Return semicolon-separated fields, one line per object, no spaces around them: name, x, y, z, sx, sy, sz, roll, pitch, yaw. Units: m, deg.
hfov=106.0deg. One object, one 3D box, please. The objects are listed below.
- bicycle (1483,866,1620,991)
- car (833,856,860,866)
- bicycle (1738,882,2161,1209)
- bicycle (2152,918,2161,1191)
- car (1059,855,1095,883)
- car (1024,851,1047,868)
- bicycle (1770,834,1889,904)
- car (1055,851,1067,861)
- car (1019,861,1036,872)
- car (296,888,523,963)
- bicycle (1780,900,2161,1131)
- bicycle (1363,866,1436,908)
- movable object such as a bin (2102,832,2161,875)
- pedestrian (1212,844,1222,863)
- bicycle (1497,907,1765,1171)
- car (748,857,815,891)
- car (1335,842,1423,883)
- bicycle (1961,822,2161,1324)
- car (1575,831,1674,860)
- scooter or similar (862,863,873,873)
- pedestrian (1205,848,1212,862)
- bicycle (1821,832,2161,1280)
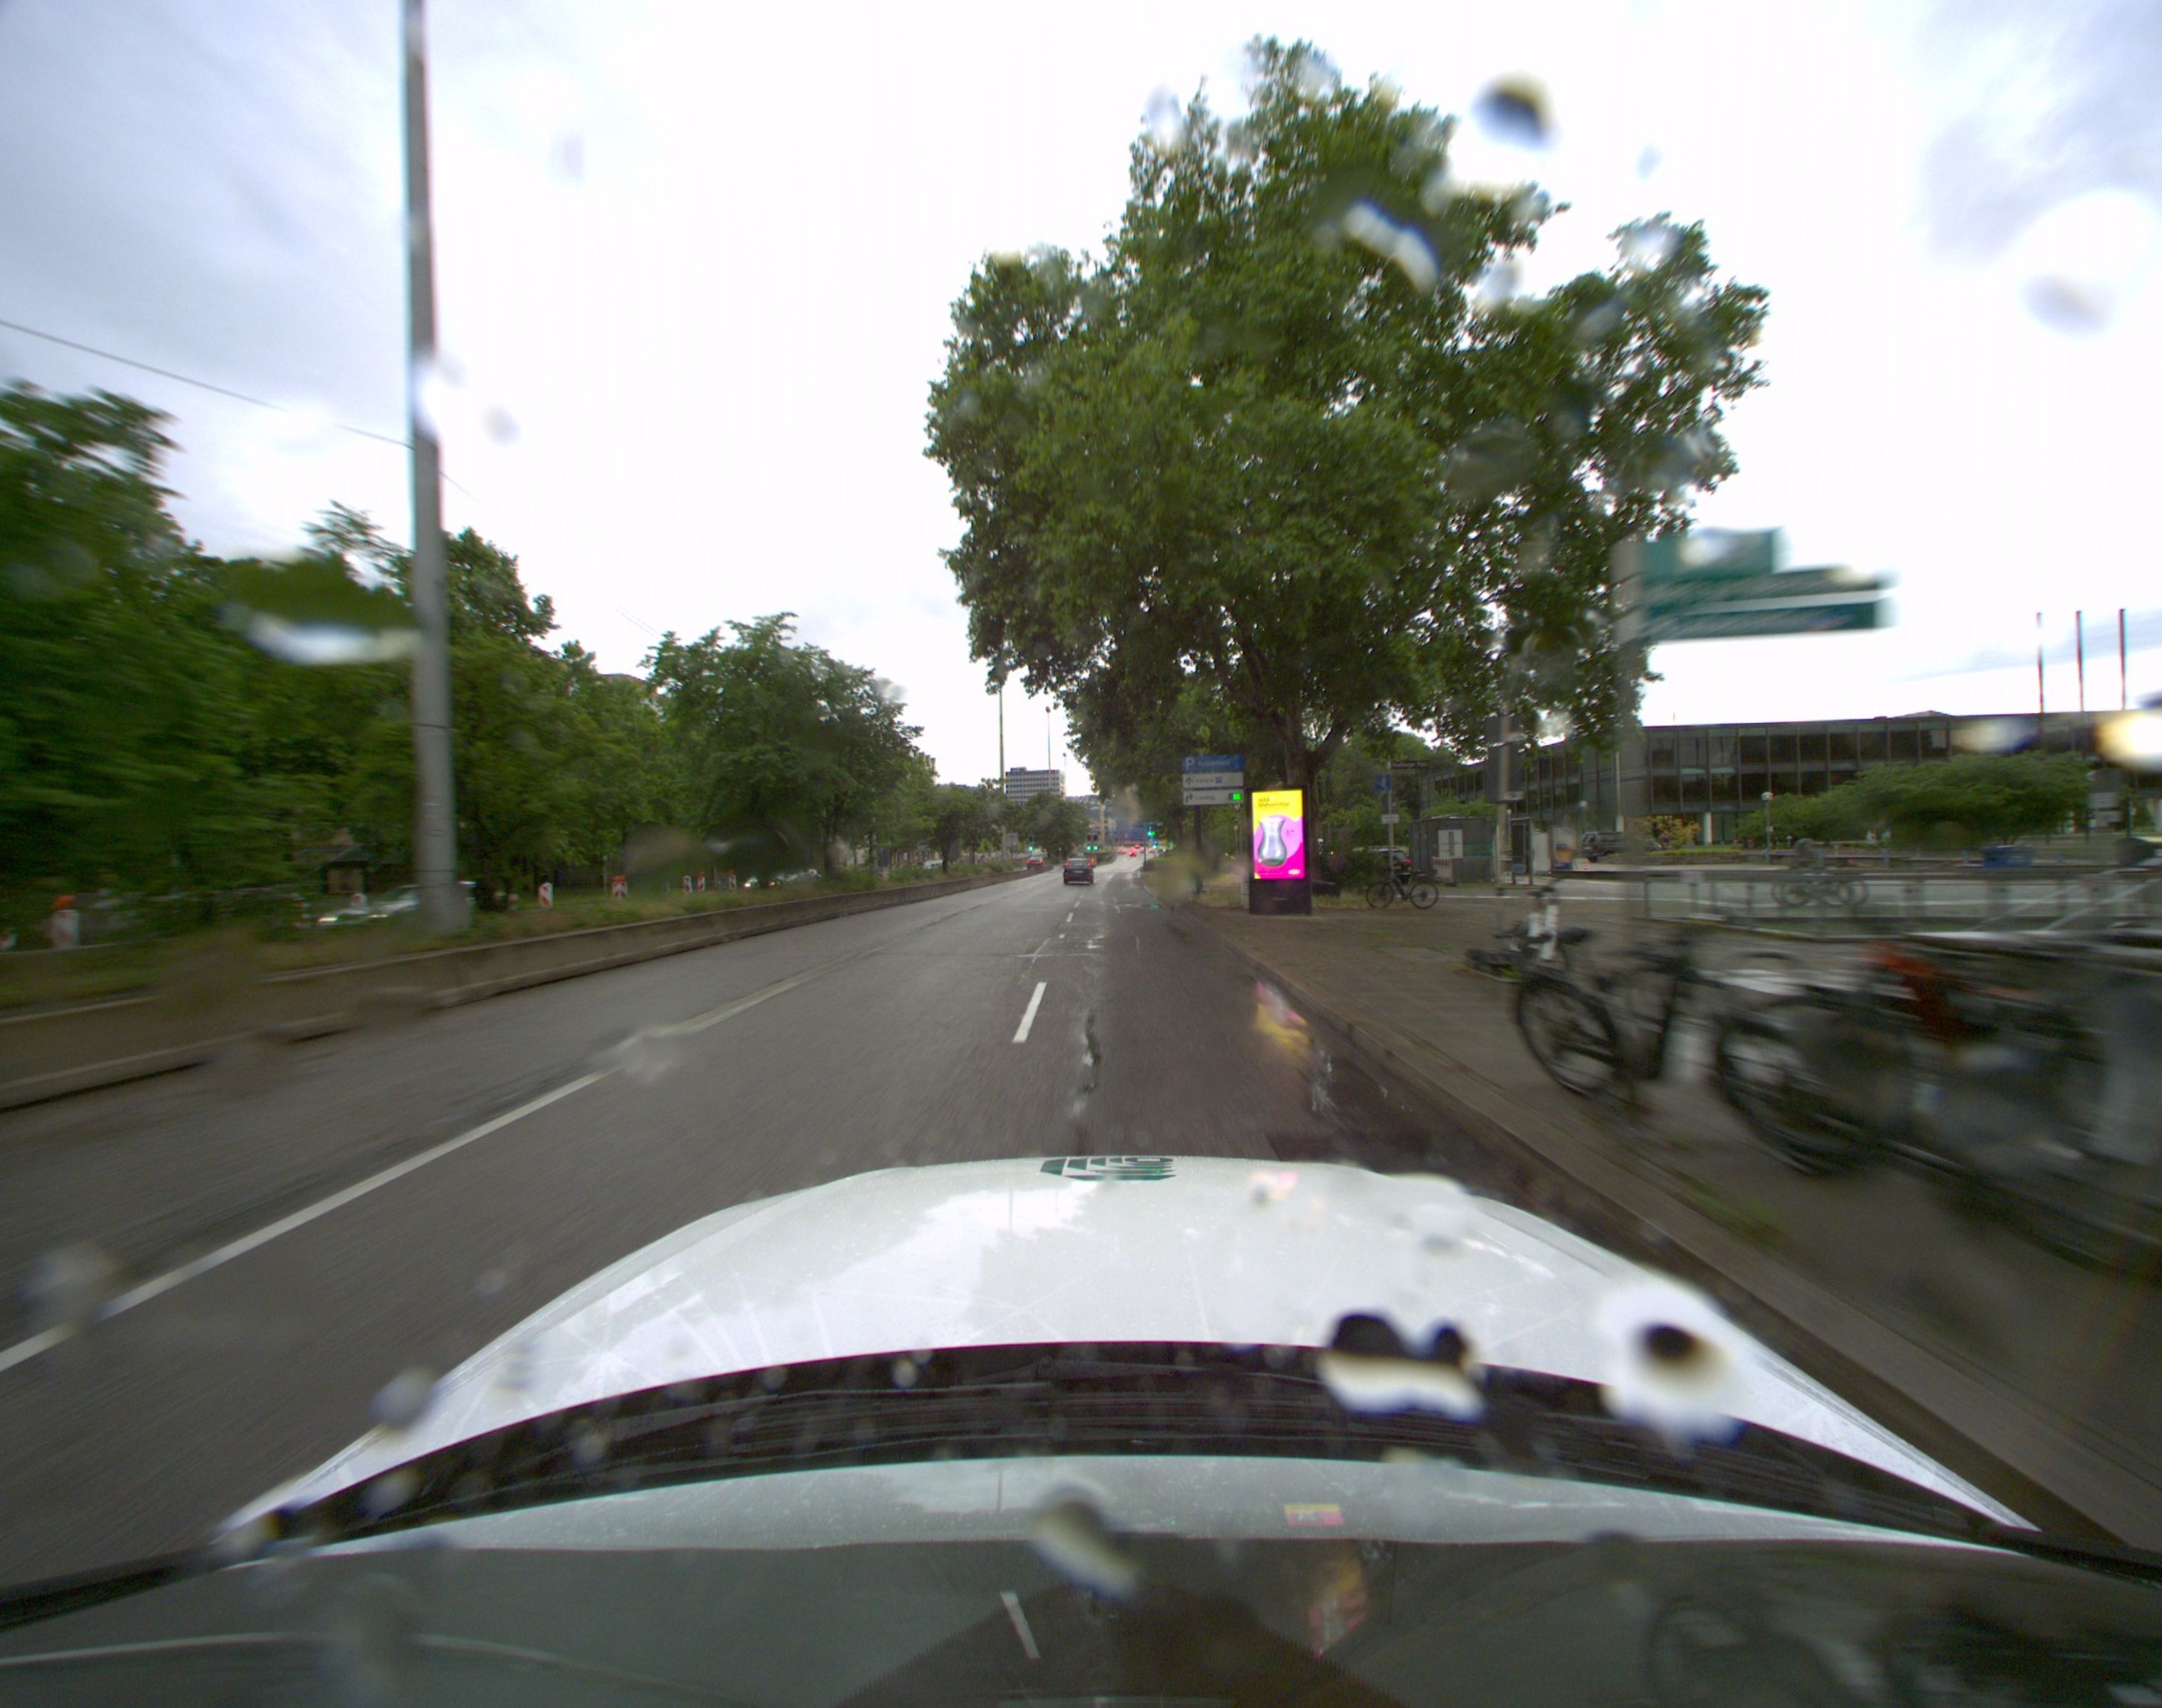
bicycle;5.095;0.747;8.957;0.601;1.197;1.909;-3;-1;9
car;-39.785;1.167;138.158;3.973;1.596;2.000;-2;0;0
bicycle;3.671;0.695;3.183;1.672;1.122;0.602;-1;0;3
bicycle;3.766;0.703;1.864;1.672;1.090;0.651;-1;-1;3
car;-0.282;0.855;45.593;1.839;1.416;3.835;-3;-1;-2
car;-5.074;0.603;91.614;1.984;1.781;4.005;-2;0;4
bicycle;18.484;0.362;20.137;2.311;1.667;0.773;-1;-2;-5
car;-3.520;0.395;145.501;1.988;1.632;3.998;-1;-1;-1
car;-6.882;1.592;104.998;1.748;1.452;4.001;1;0;1
car;-18.091;1.854;22.327;1.985;1.625;4.812;-3;-1;4
bicycle;4.398;0.742;3.905;1.582;0.994;0.525;-1;-1;3
bicycle;7.987;0.812;20.468;1.632;1.020;0.576;1;-1;6
movable object such as a bin;37.703;-0.020;28.798;1.483;1.457;1.251;-3;-1;4
pedestrian;12.442;-0.032;74.379;0.702;1.718;0.693;-3;0;3
bicycle;2.670;0.804;4.169;0.664;0.967;1.644;-1;-1;17
car;-13.877;0.891;37.970;1.539;1.508;3.933;-1;0;2
car;12.845;0.295;35.453;1.986;1.609;5.237;-1;1;1
bicycle;3.819;0.567;2.284;1.898;1.332;0.651;-1;-1;3
car;36.355;-0.571;54.563;4.991;1.764;2.460;-1;0;-1
scooter or similar;-32.187;2.082;122.830;0.706;1.351;1.684;-4;-1;24
pedestrian;16.135;0.117;103.085;0.592;1.755;0.725;-3;0;1
bicycle;3.915;0.593;2.733;2.181;1.336;0.651;-1;-1;3
